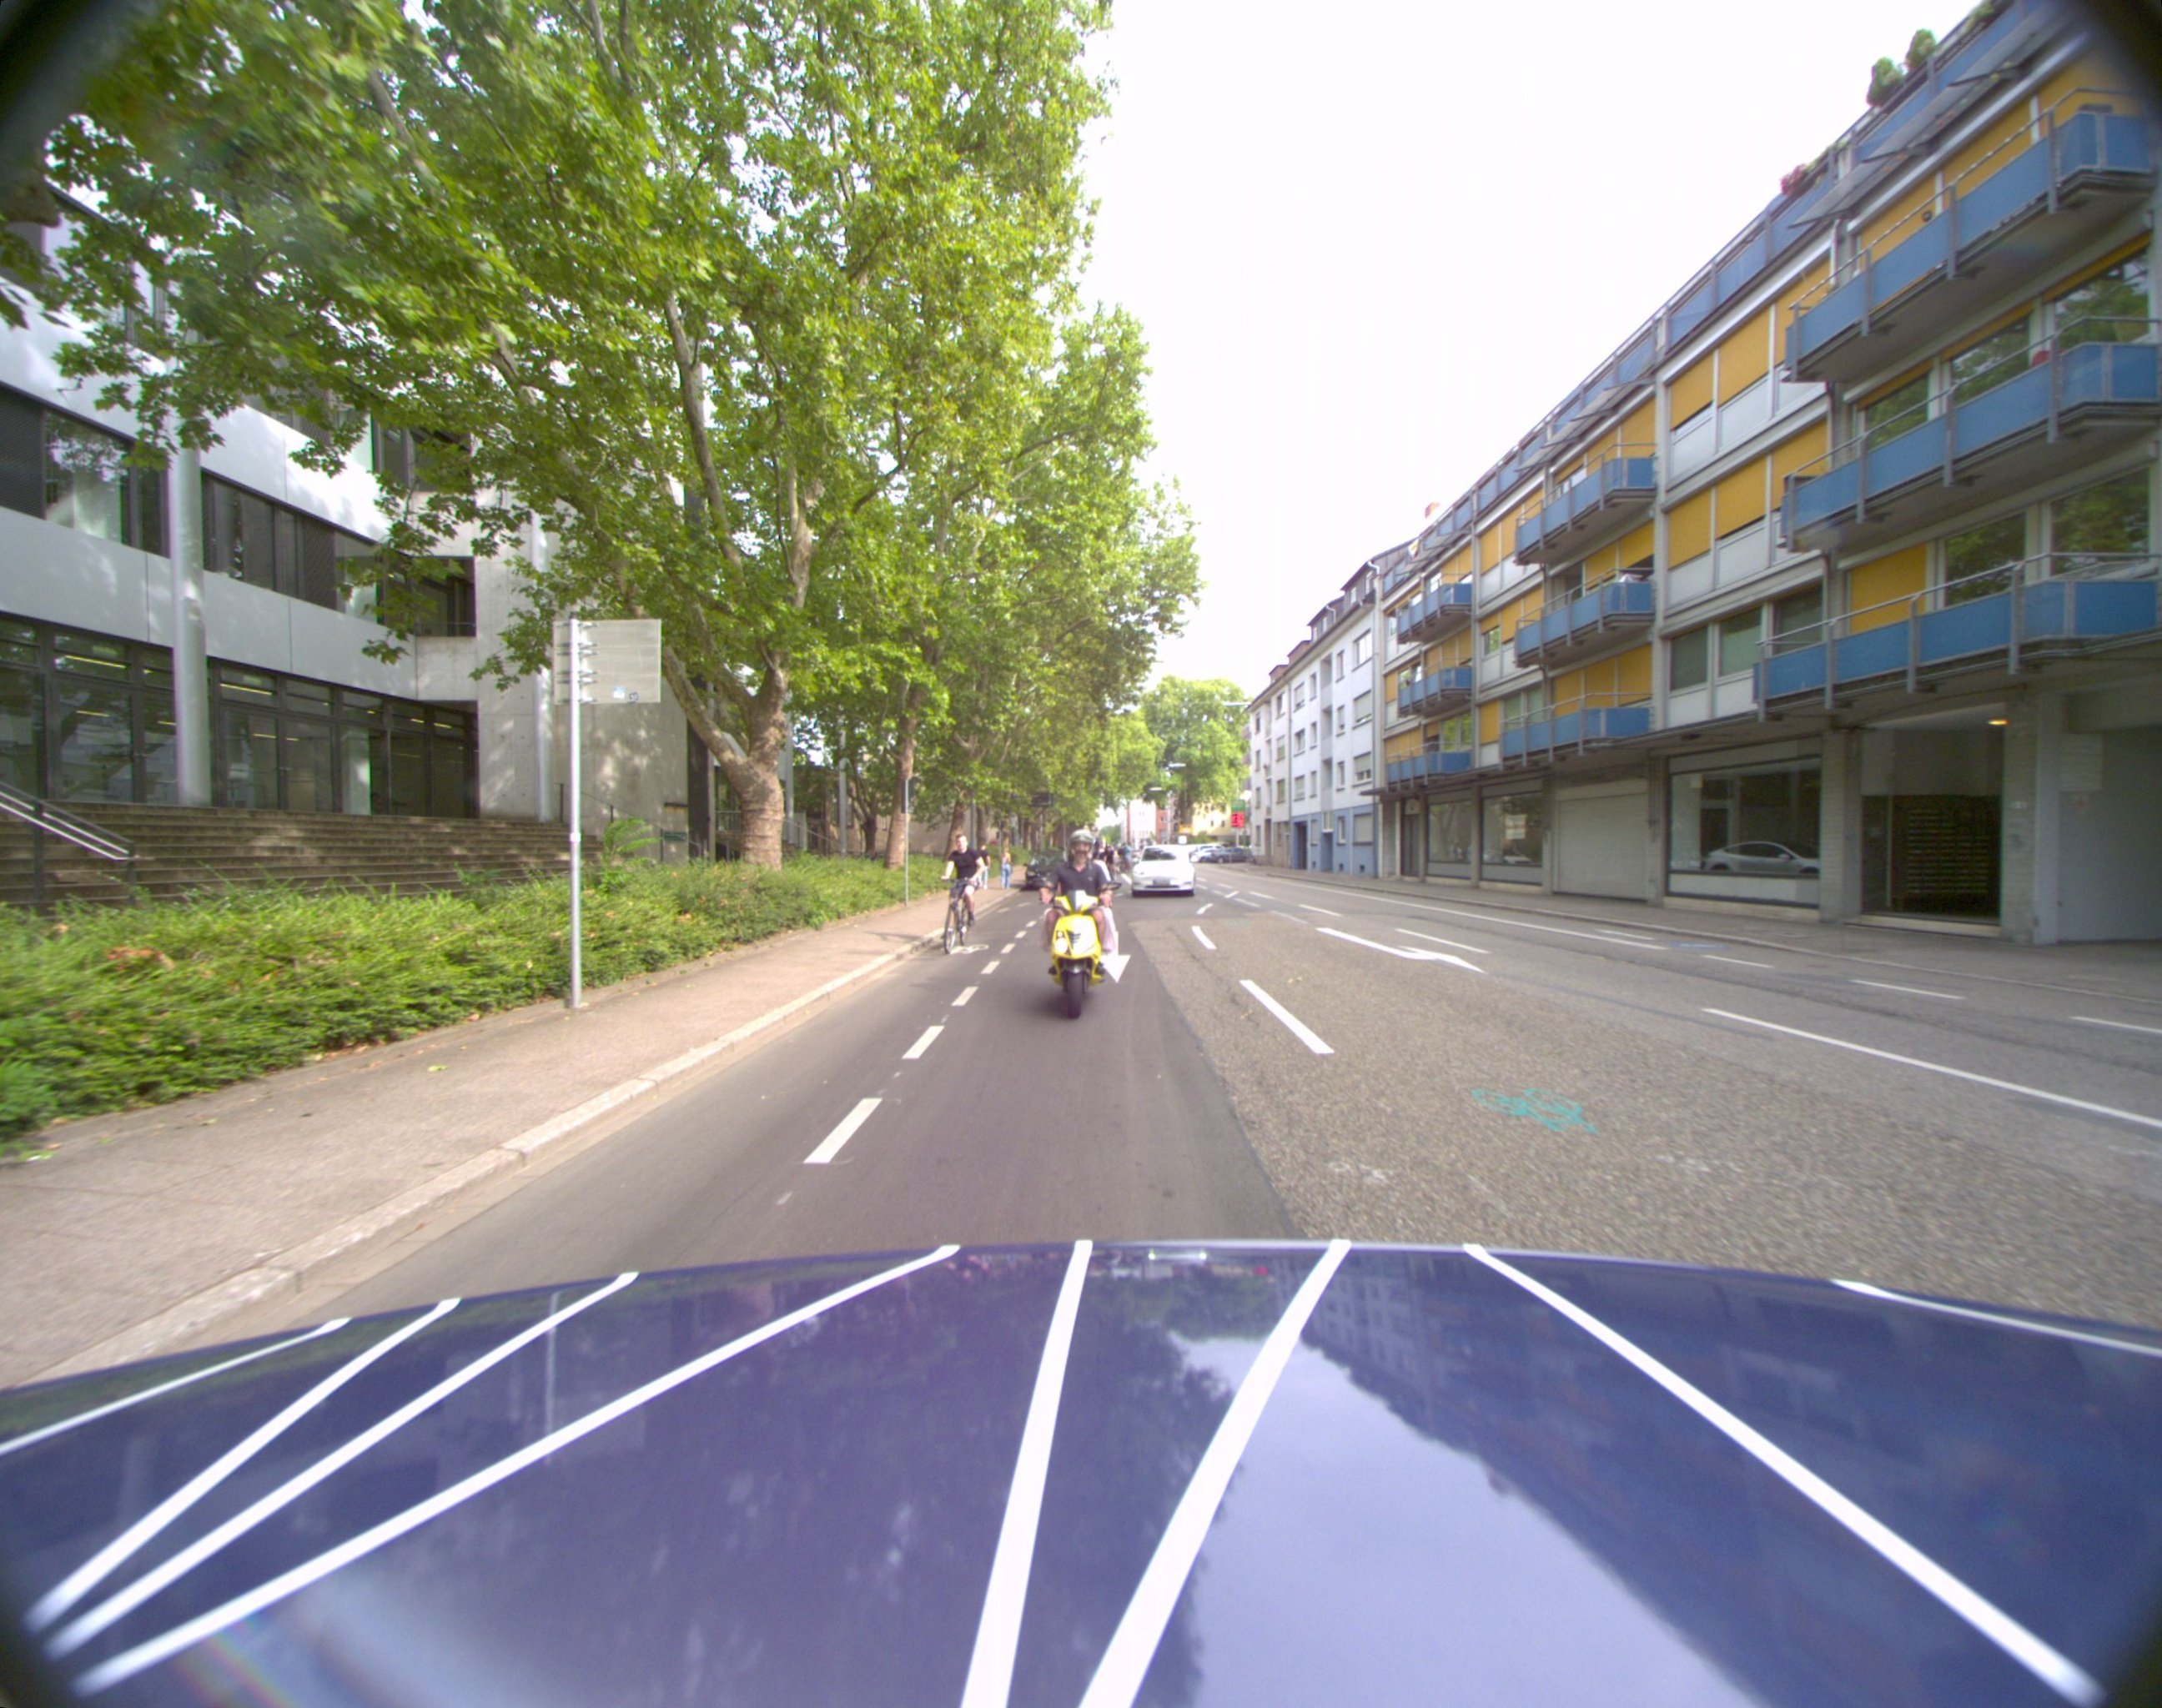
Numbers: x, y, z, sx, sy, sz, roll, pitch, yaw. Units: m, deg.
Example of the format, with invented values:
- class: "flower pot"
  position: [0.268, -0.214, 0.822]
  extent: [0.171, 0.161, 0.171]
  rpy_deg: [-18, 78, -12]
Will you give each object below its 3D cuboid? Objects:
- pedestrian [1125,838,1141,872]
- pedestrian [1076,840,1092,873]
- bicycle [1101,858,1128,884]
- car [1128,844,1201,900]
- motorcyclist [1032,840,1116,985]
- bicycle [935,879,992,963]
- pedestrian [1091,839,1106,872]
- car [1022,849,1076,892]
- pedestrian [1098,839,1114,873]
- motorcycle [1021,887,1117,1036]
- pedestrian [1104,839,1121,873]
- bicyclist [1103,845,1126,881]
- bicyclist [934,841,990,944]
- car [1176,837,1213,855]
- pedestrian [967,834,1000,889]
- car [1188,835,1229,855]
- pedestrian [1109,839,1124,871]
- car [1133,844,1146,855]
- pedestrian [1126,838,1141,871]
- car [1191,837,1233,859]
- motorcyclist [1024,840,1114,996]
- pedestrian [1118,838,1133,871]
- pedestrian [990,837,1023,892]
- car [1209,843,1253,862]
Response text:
- class: "pedestrian"
  position: [3.108, 0.054, 45.317]
  extent: [0.842, 2.002, 0.875]
  rpy_deg: [-2, 1, 5]
- class: "pedestrian"
  position: [0.181, 0.147, 47.049]
  extent: [0.842, 2.002, 0.875]
  rpy_deg: [-2, 1, 5]
- class: "bicycle"
  position: [1.413, 0.704, 31.613]
  extent: [0.770, 1.009, 2.409]
  rpy_deg: [0, 0, 11]
- class: "car"
  position: [2.817, 0.512, 24.671]
  extent: [1.997, 1.543, 4.524]
  rpy_deg: [-2, 1, 10]
- class: "motorcyclist"
  position: [-0.055, 0.573, 7.810]
  extent: [0.781, 1.419, 0.689]
  rpy_deg: [-1, 1, 3]
- class: "bicycle"
  position: [-1.894, 1.025, 12.257]
  extent: [0.773, 1.124, 2.002]
  rpy_deg: [-3, 0, -9]
- class: "pedestrian"
  position: [1.120, 0.102, 47.857]
  extent: [0.842, 2.002, 0.875]
  rpy_deg: [-2, 1, 5]
- class: "car"
  position: [-1.231, 0.595, 30.778]
  extent: [1.999, 1.533, 4.270]
  rpy_deg: [-2, 1, -1]
- class: "pedestrian"
  position: [1.502, 0.109, 45.886]
  extent: [0.842, 2.002, 0.875]
  rpy_deg: [-2, 1, 5]
- class: "motorcycle"
  position: [-0.058, 0.981, 7.600]
  extent: [0.781, 1.171, 1.993]
  rpy_deg: [-1, 1, 4]
- class: "pedestrian"
  position: [1.872, 0.103, 45.145]
  extent: [0.842, 2.002, 0.875]
  rpy_deg: [-2, 1, 5]
- class: "bicyclist"
  position: [1.409, 0.354, 31.587]
  extent: [0.784, 1.438, 0.914]
  rpy_deg: [-2, 1, 10]
- class: "bicyclist"
  position: [-1.916, 0.601, 12.255]
  extent: [0.773, 1.574, 0.801]
  rpy_deg: [-3, 1, -9]
- class: "car"
  position: [13.412, -0.963, 89.691]
  extent: [3.997, 2.002, 2.000]
  rpy_deg: [-2, 1, 1]
- class: "pedestrian"
  position: [-3.669, 0.260, 28.667]
  extent: [1.003, 2.002, 0.997]
  rpy_deg: [-2, 1, 1]
- class: "car"
  position: [13.454, -0.950, 80.406]
  extent: [3.997, 2.002, 2.000]
  rpy_deg: [-2, 1, 1]
- class: "pedestrian"
  position: [2.304, 0.044, 48.975]
  extent: [0.842, 2.002, 0.875]
  rpy_deg: [-2, 1, 5]
- class: "car"
  position: [8.929, -0.737, 115.641]
  extent: [1.998, 1.543, 4.001]
  rpy_deg: [-2, 1, 5]
- class: "pedestrian"
  position: [3.324, 0.019, 47.640]
  extent: [0.842, 2.002, 0.875]
  rpy_deg: [-2, 1, 5]
- class: "car"
  position: [13.359, -0.599, 77.647]
  extent: [3.997, 2.002, 2.000]
  rpy_deg: [-2, 1, 1]
- class: "motorcyclist"
  position: [-0.096, 0.587, 7.366]
  extent: [0.781, 1.419, 0.764]
  rpy_deg: [-1, 1, 3]
- class: "pedestrian"
  position: [2.754, 0.046, 47.200]
  extent: [0.842, 2.002, 0.875]
  rpy_deg: [-2, 1, 5]
- class: "pedestrian"
  position: [-2.803, 0.398, 28.615]
  extent: [1.003, 2.002, 0.997]
  rpy_deg: [-2, 1, 3]
- class: "car"
  position: [14.428, -0.154, 73.090]
  extent: [3.870, 1.678, 1.882]
  rpy_deg: [-2, 1, 1]
